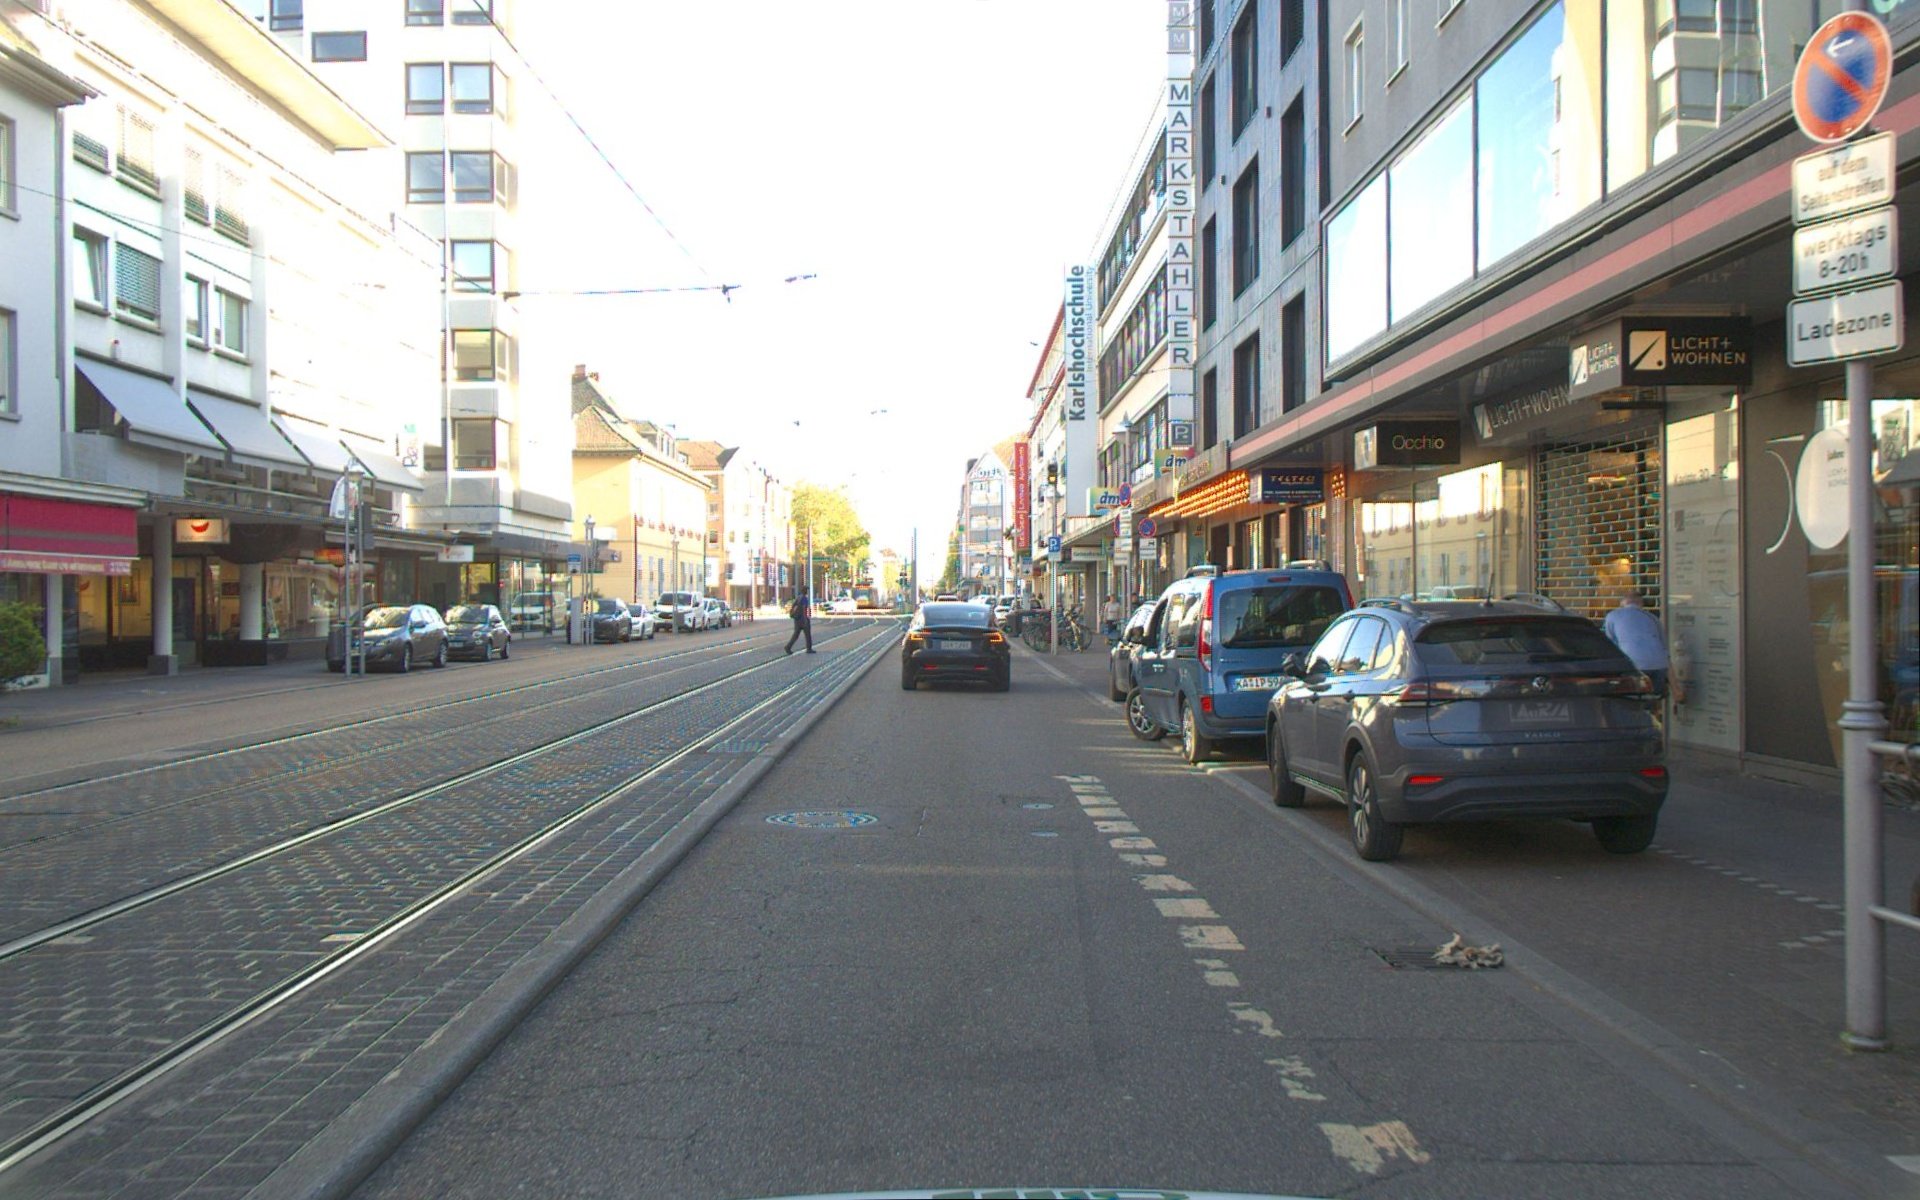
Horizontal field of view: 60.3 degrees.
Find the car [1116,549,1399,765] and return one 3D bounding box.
[{"bbox_3d":[2.896,0.520,17.156,1.780,1.892,4.546,-1,0,-4],"label":"car"}]

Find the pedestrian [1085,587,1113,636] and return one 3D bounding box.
[{"bbox_3d":[4.393,0.378,52.199,0.576,1.512,0.591,-3,0,-32],"label":"pedestrian"}]

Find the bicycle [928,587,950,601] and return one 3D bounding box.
[{"bbox_3d":[-1.698,-0.488,134.918,1.696,1.107,0.677,1,0,-9],"label":"bicycle"}]

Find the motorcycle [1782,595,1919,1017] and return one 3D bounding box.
[{"bbox_3d":[3.650,0.712,5.437,0.646,1.457,2.322,-1,0,-2],"label":"motorcycle"}]

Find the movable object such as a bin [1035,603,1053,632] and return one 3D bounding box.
[{"bbox_3d":[3.365,0.699,66.334,0.676,1.108,0.666,-2,0,2],"label":"movable object such as a bin"}]

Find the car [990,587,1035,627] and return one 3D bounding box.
[{"bbox_3d":[2.445,0.307,78.444,1.812,1.754,5.191,-2,0,-1],"label":"car"}]

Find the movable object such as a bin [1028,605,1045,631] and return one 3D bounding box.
[{"bbox_3d":[3.107,0.716,67.010,0.644,1.032,0.636,-1,0,2],"label":"movable object such as a bin"}]

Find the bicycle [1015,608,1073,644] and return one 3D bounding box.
[{"bbox_3d":[2.603,0.793,51.147,1.737,1.050,0.596,-1,0,-2],"label":"bicycle"}]

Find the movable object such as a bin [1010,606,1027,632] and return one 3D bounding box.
[{"bbox_3d":[2.383,0.749,67.027,0.672,1.032,0.508,-1,0,2],"label":"movable object such as a bin"}]

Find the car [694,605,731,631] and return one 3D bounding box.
[{"bbox_3d":[-13.858,0.989,92.675,1.581,1.425,3.719,1,0,-1],"label":"car"}]

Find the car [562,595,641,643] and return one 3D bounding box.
[{"bbox_3d":[-13.468,0.685,62.329,1.938,1.708,4.654,1,0,0],"label":"car"}]

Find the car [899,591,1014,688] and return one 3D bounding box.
[{"bbox_3d":[-0.110,0.638,28.282,1.811,1.510,3.786,1,0,-2],"label":"car"}]

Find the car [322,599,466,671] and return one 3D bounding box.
[{"bbox_3d":[-13.240,0.785,39.014,1.701,1.550,4.851,1,0,0],"label":"car"}]

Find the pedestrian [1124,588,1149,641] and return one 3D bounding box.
[{"bbox_3d":[5.199,0.426,48.769,0.571,1.519,0.524,-3,0,-9],"label":"pedestrian"}]

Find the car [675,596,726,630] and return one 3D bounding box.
[{"bbox_3d":[-13.747,0.673,87.839,1.770,1.715,4.649,1,0,2],"label":"car"}]

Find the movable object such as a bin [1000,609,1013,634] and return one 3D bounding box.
[{"bbox_3d":[1.867,0.850,66.357,0.477,0.975,0.458,-2,0,2],"label":"movable object such as a bin"}]

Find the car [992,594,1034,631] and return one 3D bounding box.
[{"bbox_3d":[2.329,0.544,73.442,1.581,1.555,4.069,-1,0,-1],"label":"car"}]

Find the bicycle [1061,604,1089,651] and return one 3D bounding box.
[{"bbox_3d":[3.245,0.760,46.766,0.570,1.279,1.601,-3,0,-2],"label":"bicycle"}]

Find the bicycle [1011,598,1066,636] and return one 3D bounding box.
[{"bbox_3d":[2.585,0.557,54.530,1.751,1.179,0.669,-1,0,-2],"label":"bicycle"}]

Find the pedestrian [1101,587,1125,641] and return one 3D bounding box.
[{"bbox_3d":[4.695,0.417,50.760,0.570,1.613,0.597,-3,0,-3],"label":"pedestrian"}]

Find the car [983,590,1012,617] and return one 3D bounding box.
[{"bbox_3d":[2.399,0.204,106.282,1.709,1.660,3.649,-2,0,0],"label":"car"}]

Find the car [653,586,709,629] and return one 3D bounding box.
[{"bbox_3d":[-13.675,0.380,81.281,1.953,2.009,5.095,1,0,-1],"label":"car"}]

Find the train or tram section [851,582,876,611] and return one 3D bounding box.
[{"bbox_3d":[-13.150,-0.438,226.411,2.619,3.780,14.191,1,0,0],"label":"train or tram section"}]

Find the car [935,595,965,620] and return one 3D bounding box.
[{"bbox_3d":[-0.674,0.501,109.913,1.748,1.545,4.215,1,0,-4],"label":"car"}]

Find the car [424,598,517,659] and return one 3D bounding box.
[{"bbox_3d":[-13.216,0.746,44.815,1.569,1.550,3.587,2,0,-3],"label":"car"}]

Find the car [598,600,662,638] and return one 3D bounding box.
[{"bbox_3d":[-13.559,0.769,68.201,1.850,1.446,4.654,1,0,-2],"label":"car"}]

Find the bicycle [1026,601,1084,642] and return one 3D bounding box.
[{"bbox_3d":[3.008,0.689,52.525,1.751,1.238,0.587,-1,0,-2],"label":"bicycle"}]

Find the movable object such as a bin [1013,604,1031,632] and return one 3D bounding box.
[{"bbox_3d":[2.483,0.725,66.361,0.676,1.108,0.686,-2,0,2],"label":"movable object such as a bin"}]

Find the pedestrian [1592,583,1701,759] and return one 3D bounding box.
[{"bbox_3d":[5.931,0.600,14.318,0.564,1.464,0.731,-2,0,-1],"label":"pedestrian"}]

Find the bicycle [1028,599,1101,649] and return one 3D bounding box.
[{"bbox_3d":[3.037,0.692,48.050,2.000,1.296,0.523,-4,0,-11],"label":"bicycle"}]

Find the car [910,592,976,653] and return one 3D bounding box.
[{"bbox_3d":[-0.417,0.545,42.918,1.619,1.443,4.000,1,1,0],"label":"car"}]

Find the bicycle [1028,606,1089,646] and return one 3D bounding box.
[{"bbox_3d":[2.911,0.763,48.840,1.739,1.150,0.478,-1,0,-7],"label":"bicycle"}]

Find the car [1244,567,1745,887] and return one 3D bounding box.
[{"bbox_3d":[3.185,0.671,10.843,1.728,1.605,4.286,-2,0,-2],"label":"car"}]

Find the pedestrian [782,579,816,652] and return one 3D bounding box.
[{"bbox_3d":[-4.255,0.412,43.849,0.788,1.869,0.746,-2,0,-2],"label":"pedestrian"}]

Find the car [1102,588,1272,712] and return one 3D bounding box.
[{"bbox_3d":[3.097,0.648,23.387,1.686,1.510,4.415,-3,0,-1],"label":"car"}]
